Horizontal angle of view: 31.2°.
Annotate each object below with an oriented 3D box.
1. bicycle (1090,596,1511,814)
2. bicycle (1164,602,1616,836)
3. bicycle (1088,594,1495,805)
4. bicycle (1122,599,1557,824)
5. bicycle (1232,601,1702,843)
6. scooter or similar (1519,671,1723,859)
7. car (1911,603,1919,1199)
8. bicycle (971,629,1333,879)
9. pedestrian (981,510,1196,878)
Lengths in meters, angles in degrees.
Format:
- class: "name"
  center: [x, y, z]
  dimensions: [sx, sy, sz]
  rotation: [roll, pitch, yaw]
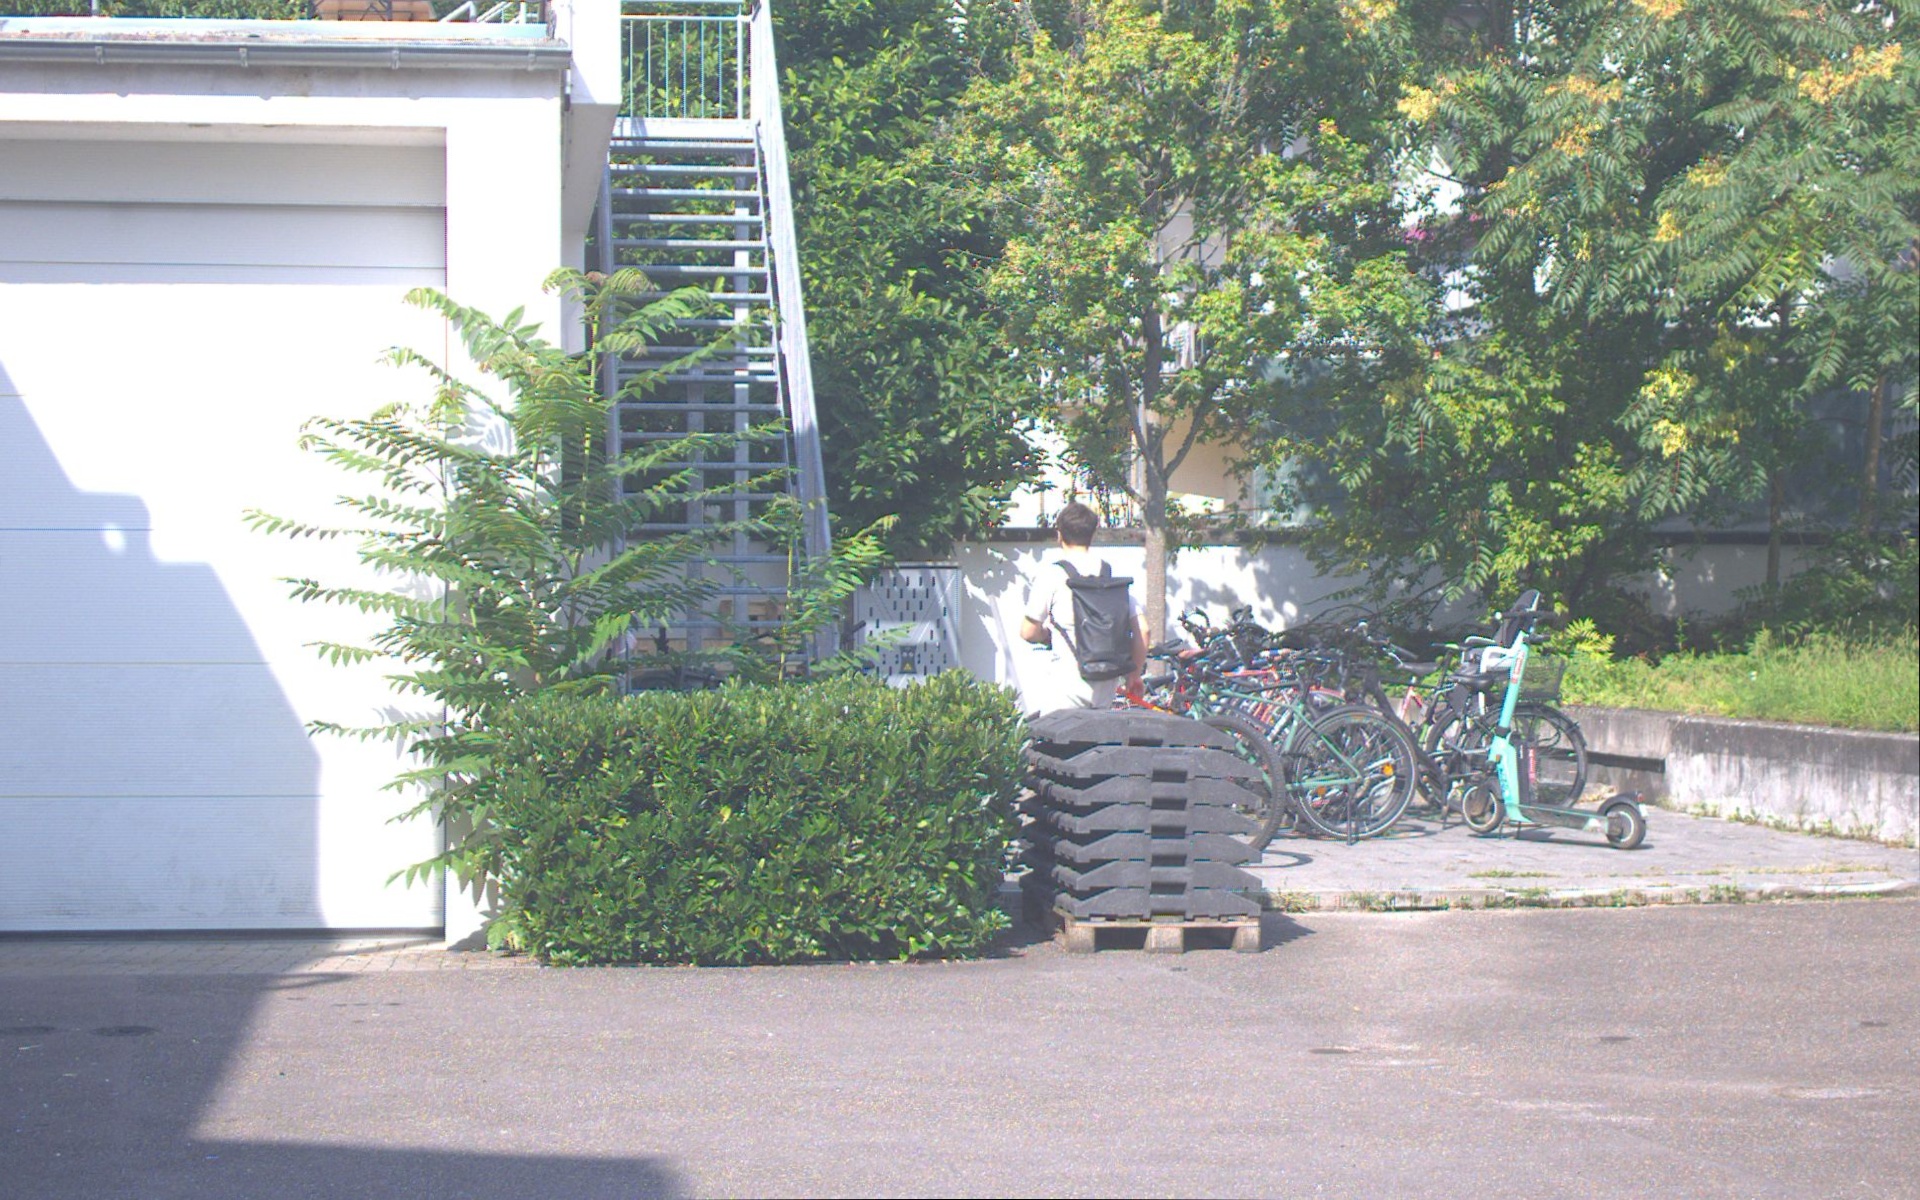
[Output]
- class: "bicycle"
  center: [2.016, 0.617, 20.410]
  dimensions: [2.410, 1.242, 0.526]
  rotation: [1, 0, -7]
- class: "bicycle"
  center: [2.373, 0.656, 19.031]
  dimensions: [2.410, 1.242, 0.526]
  rotation: [1, 0, -7]
- class: "bicycle"
  center: [2.033, 0.610, 21.134]
  dimensions: [2.410, 1.242, 0.526]
  rotation: [1, 0, -7]
- class: "bicycle"
  center: [2.180, 0.638, 19.810]
  dimensions: [2.410, 1.242, 0.526]
  rotation: [1, 0, -7]
- class: "bicycle"
  center: [2.706, 0.651, 18.399]
  dimensions: [2.410, 1.242, 0.526]
  rotation: [1, 0, -7]
- class: "scooter or similar"
  center: [3.444, 0.850, 17.942]
  dimensions: [0.999, 0.921, 0.359]
  rotation: [1, 0, 45]
- class: "car"
  center: [4.300, 0.738, 7.805]
  dimensions: [3.895, 1.461, 1.663]
  rotation: [0, 1, -21]
- class: "bicycle"
  center: [0.932, 0.737, 17.184]
  dimensions: [0.488, 1.140, 1.992]
  rotation: [-2, 2, -44]
- class: "pedestrian"
  center: [0.638, 0.449, 17.024]
  dimensions: [0.611, 1.765, 0.859]
  rotation: [1, 0, 45]
